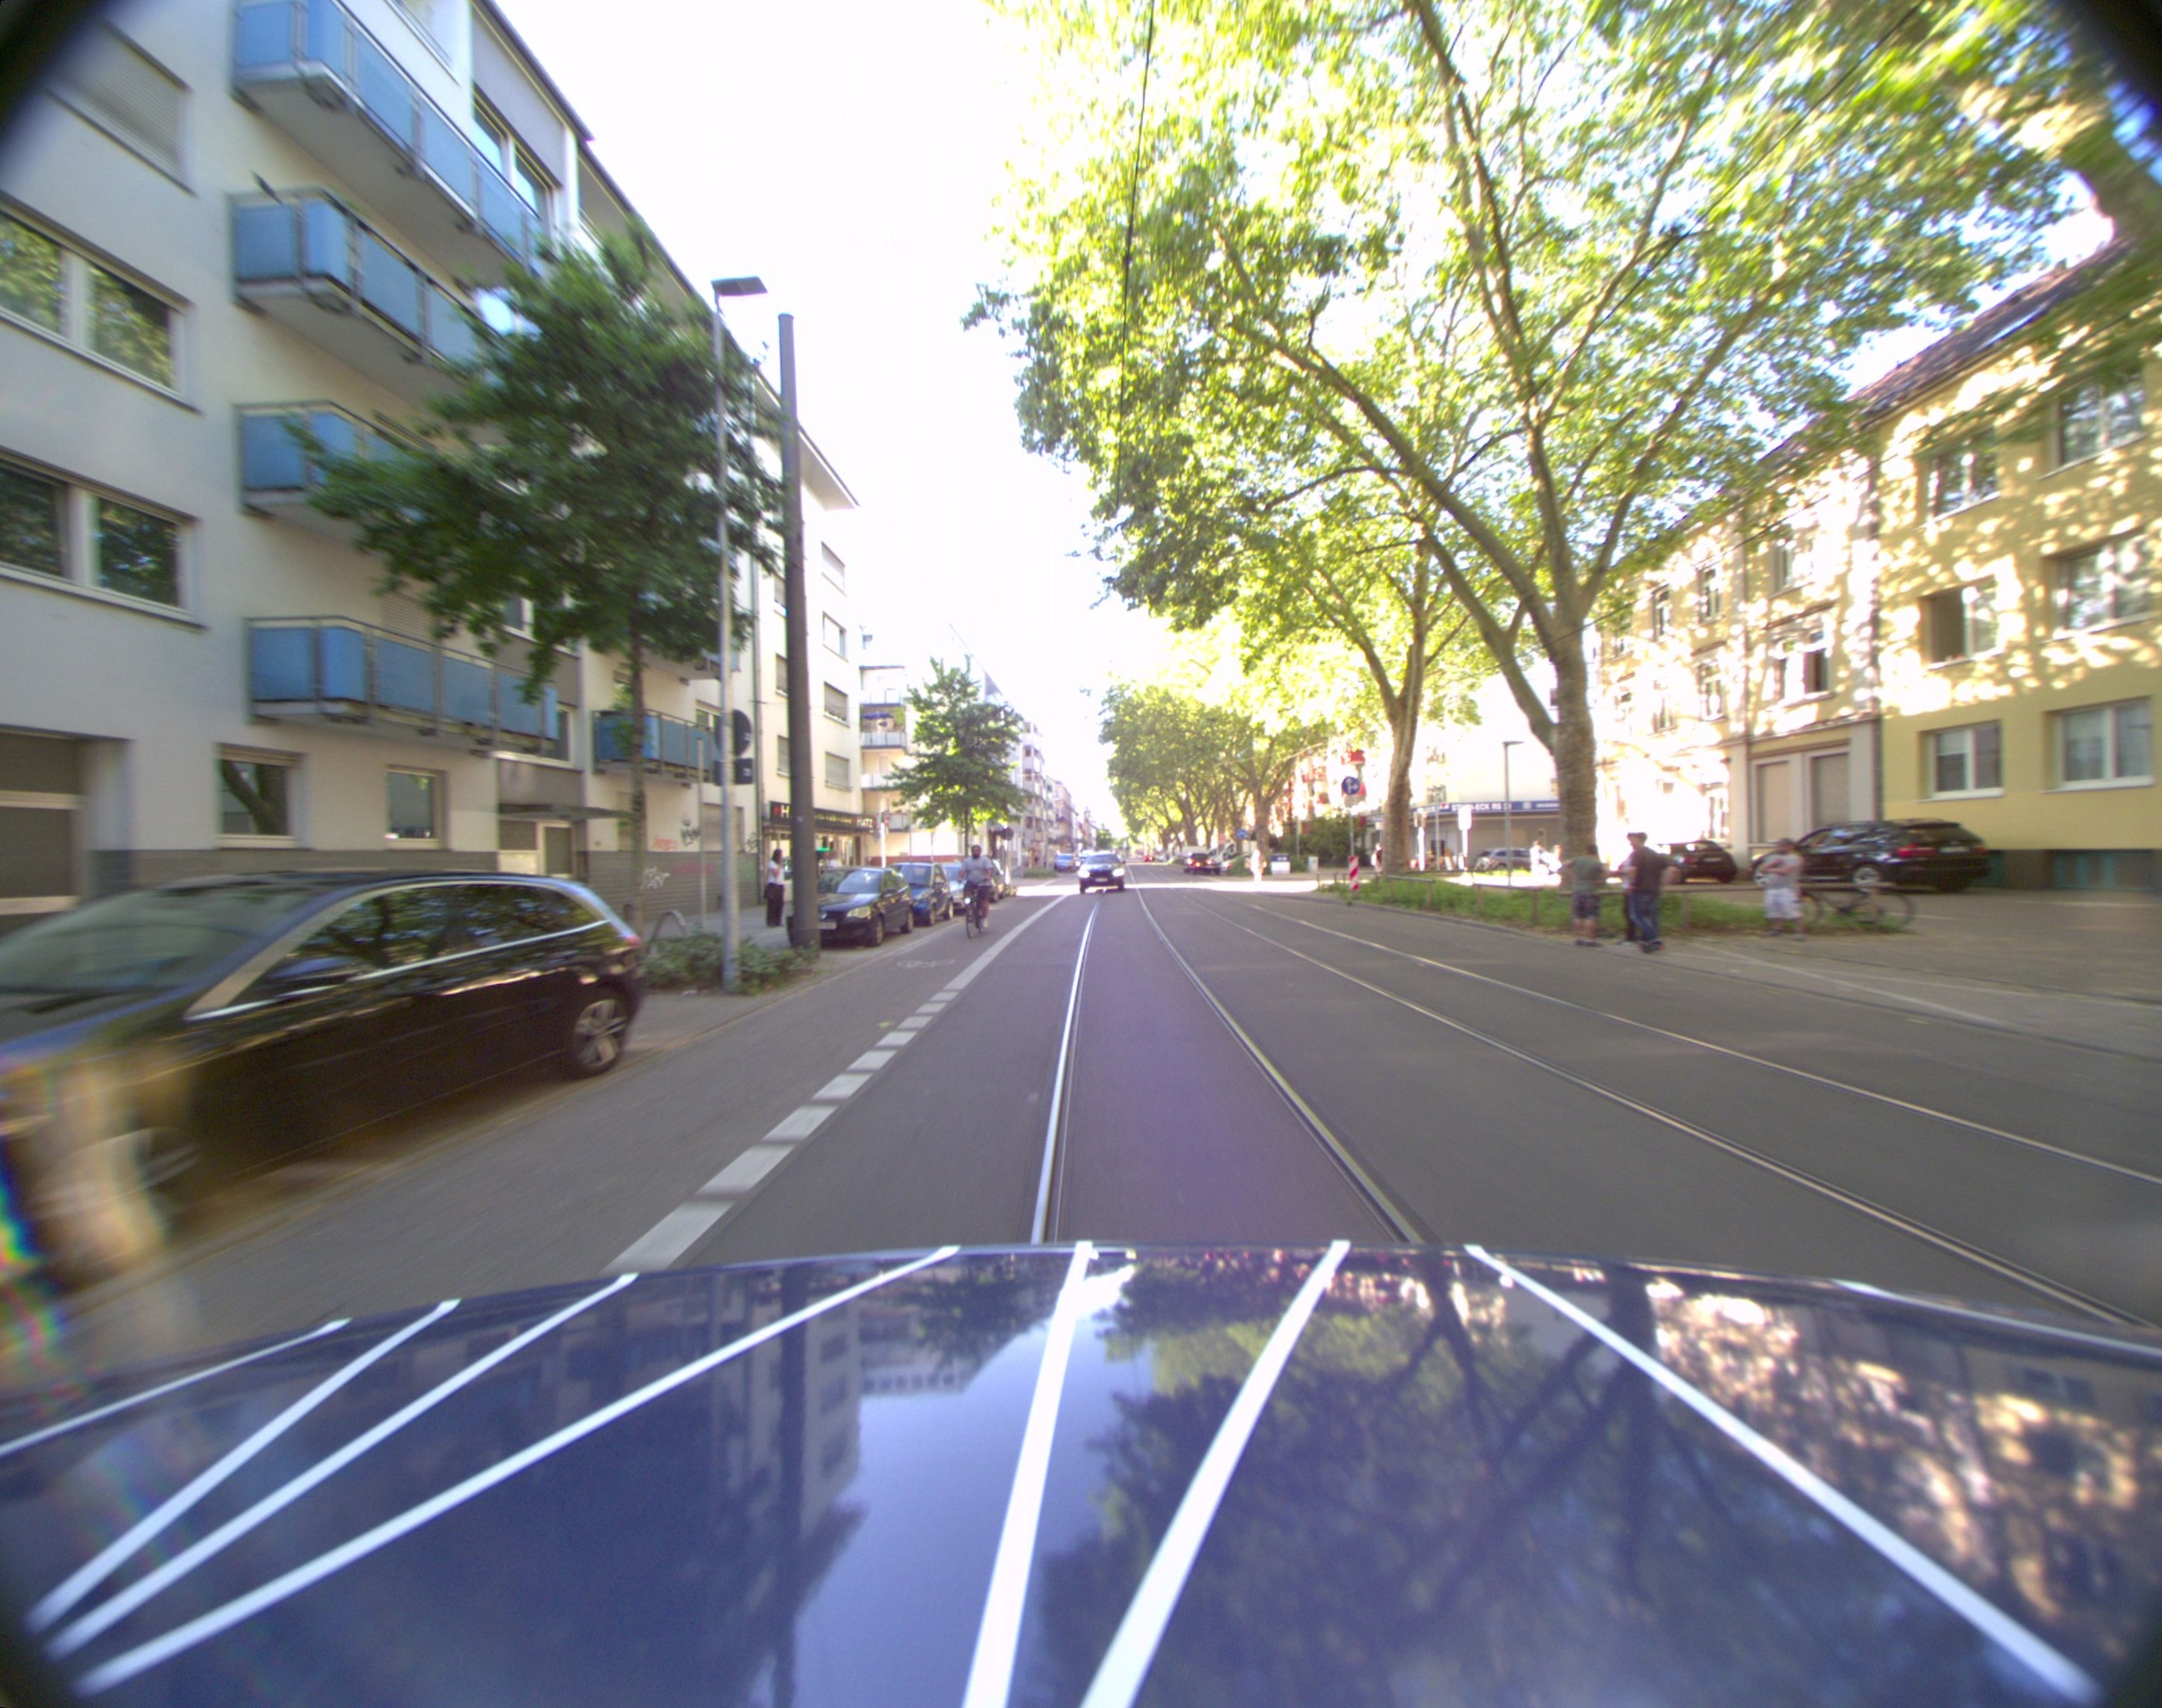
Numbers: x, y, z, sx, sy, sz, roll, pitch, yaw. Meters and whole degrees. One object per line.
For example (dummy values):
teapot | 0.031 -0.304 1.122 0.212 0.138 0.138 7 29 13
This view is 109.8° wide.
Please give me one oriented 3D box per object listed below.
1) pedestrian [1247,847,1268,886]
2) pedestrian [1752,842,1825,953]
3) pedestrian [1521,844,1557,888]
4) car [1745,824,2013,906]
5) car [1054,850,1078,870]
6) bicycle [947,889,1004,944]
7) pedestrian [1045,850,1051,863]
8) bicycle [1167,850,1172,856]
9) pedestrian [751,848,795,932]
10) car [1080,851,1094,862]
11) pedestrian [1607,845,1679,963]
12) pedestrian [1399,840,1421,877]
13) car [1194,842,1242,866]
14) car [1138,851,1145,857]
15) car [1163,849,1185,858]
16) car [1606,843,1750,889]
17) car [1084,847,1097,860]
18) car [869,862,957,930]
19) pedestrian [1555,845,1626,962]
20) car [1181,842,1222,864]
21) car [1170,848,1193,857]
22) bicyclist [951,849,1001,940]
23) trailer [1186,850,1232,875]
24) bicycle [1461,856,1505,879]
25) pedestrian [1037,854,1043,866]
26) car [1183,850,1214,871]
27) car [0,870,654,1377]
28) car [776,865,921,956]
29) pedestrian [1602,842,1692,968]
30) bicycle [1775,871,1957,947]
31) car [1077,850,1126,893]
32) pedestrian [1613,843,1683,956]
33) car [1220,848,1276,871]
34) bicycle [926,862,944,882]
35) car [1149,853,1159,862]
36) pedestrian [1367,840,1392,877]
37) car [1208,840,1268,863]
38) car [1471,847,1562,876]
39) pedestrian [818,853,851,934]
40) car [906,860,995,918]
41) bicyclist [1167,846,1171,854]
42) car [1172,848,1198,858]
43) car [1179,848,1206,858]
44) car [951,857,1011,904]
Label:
pedestrian | 8.214 0.574 35.363 0.700 1.781 0.801 -2 1 -6
pedestrian | 10.762 0.636 11.550 0.768 1.600 0.715 -1 2 45
pedestrian | 17.594 0.439 29.205 0.713 1.628 1.009 -2 1 0
car | 19.546 0.204 19.013 1.998 1.726 4.697 -2 1 5
car | -1.504 0.558 77.623 1.957 1.914 4.000 -2 1 3
bicycle | -2.170 1.276 15.884 0.790 0.932 1.939 -2 1 3
pedestrian | -4.439 0.333 101.752 0.697 1.685 0.678 -2 1 3
bicycle | 12.754 -0.122 109.752 0.533 0.901 1.557 -2 1 4
pedestrian | -6.998 0.808 17.272 0.538 1.841 0.665 -1 1 33
car | 0.981 0.362 118.230 1.867 1.499 4.000 -2 1 4
pedestrian | 8.685 0.744 11.742 0.768 1.725 0.715 -1 2 45
pedestrian | 16.066 0.228 37.093 0.724 1.770 0.669 -2 2 -6
car | 14.360 -0.010 79.937 4.660 2.293 2.000 -2 1 3
car | 18.619 -0.129 234.340 1.998 1.723 4.400 -3 1 3
car | 18.278 -0.105 149.445 3.996 1.458 1.793 -2 1 1
car | 20.247 0.346 25.989 1.783 1.379 3.999 -2 1 1
car | 1.624 -0.118 127.911 1.990 2.085 4.471 -2 1 4
car | -4.118 0.984 19.030 1.447 1.528 2.881 0 0 3
pedestrian | 7.989 0.748 11.920 0.772 1.725 0.712 -3 2 -41
car | 14.963 -0.127 94.508 4.660 2.518 2.000 -2 1 3
car | 18.934 -0.294 143.274 3.996 1.458 2.000 -2 1 1
bicyclist | -2.183 0.821 15.950 0.769 1.821 1.099 -2 1 3
trailer | 9.427 0.575 56.703 2.452 1.622 6.584 1 1 1
bicycle | 19.869 0.649 37.561 1.867 1.056 0.656 -2 1 -5
pedestrian | -4.906 0.720 90.903 0.590 1.493 0.600 -2 1 3
car | 9.560 0.502 62.107 1.927 1.674 4.182 1 1 1
car | -4.498 0.970 4.085 1.763 1.578 4.329 2 1 3
car | -4.416 1.007 15.018 1.626 1.473 3.889 1 0 0
pedestrian | 8.261 0.716 11.126 0.713 1.767 0.771 -2 1 3
bicycle | 11.973 0.824 11.675 1.847 1.073 0.570 -2 1 30
car | 0.973 0.716 33.450 1.998 1.723 4.400 1 1 3
pedestrian | 9.090 0.700 12.178 0.768 1.725 0.718 -1 2 45
car | 13.178 0.437 60.105 3.996 1.600 1.909 -2 1 1
bicycle | -9.008 1.074 47.004 0.616 1.145 1.996 -2 1 3
car | 15.936 0.743 165.834 1.998 1.723 4.400 -3 1 3
pedestrian | 14.292 0.225 36.397 0.741 1.747 0.733 -3 1 -28
car | 14.704 -0.251 71.144 5.133 1.984 1.999 -2 1 -2
car | 24.988 0.432 43.737 4.152 1.469 1.835 -2 1 2
pedestrian | -5.754 0.901 17.733 0.477 1.841 0.664 -2 1 0
car | -3.835 0.973 23.016 1.790 1.528 4.128 1 0 3
bicyclist | 12.740 -0.558 109.782 0.533 1.206 0.666 -2 1 3
car | 17.112 -0.095 125.173 3.996 1.458 2.000 -2 1 1
car | 17.991 -0.125 122.447 3.996 1.458 2.000 -2 1 1
car | -3.719 0.949 28.860 1.724 1.562 4.259 1 1 -1
